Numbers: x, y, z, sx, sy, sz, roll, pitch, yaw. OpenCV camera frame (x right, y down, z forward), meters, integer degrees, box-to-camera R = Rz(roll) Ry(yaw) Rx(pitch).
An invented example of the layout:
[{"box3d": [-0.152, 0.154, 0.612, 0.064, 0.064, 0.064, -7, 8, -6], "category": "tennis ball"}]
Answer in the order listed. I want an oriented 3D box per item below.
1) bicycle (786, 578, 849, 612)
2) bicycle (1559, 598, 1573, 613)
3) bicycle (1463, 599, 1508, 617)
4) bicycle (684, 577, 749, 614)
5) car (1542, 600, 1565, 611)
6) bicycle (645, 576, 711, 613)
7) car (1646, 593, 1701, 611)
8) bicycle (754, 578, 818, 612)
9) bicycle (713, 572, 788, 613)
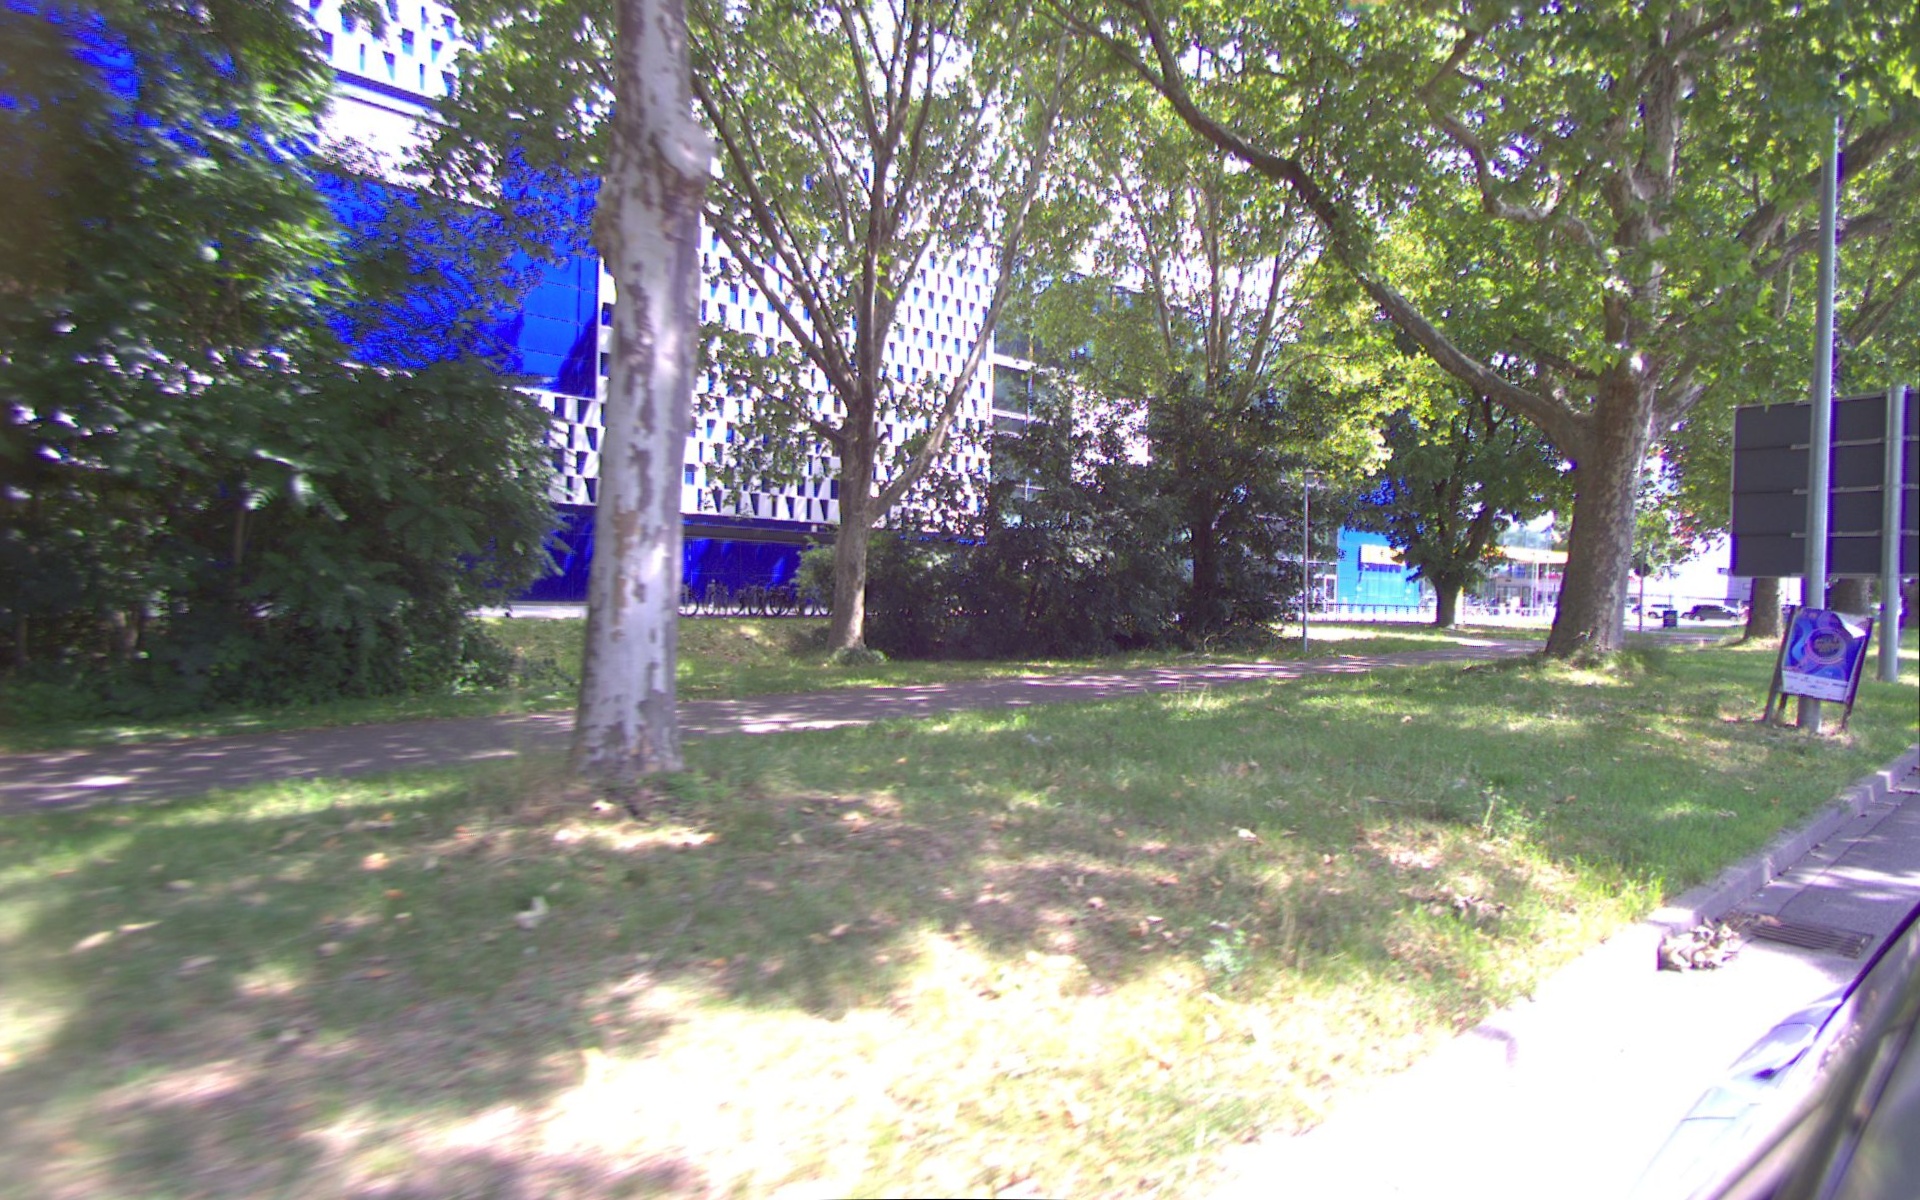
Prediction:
[{"box3d": [-4.332, -0.162, 30.670, 0.854, 0.981, 2.062, 1, 0, -43], "category": "bicycle"}, {"box3d": [52.211, 0.453, 87.144, 0.798, 1.159, 2.402, 1, 2, 36], "category": "bicycle"}, {"box3d": [29.454, 0.426, 56.747, 0.854, 0.981, 2.062, 1, 0, -43], "category": "bicycle"}, {"box3d": [-6.821, -0.135, 28.255, 0.854, 0.981, 2.062, 1, 0, -43], "category": "bicycle"}, {"box3d": [84.934, 0.747, 144.831, 3.933, 1.566, 1.850, 0, 0, -44], "category": "car"}, {"box3d": [-7.695, -0.164, 27.550, 0.854, 0.981, 2.062, 1, 0, -43], "category": "bicycle"}, {"box3d": [70.398, 0.169, 99.855, 1.965, 1.660, 4.076, 0, 1, -41], "category": "car"}, {"box3d": [-5.139, -0.152, 29.817, 0.854, 0.981, 2.062, 1, 0, -43], "category": "bicycle"}, {"box3d": [-6.036, -0.217, 29.085, 0.854, 1.131, 2.630, 1, 0, -43], "category": "bicycle"}]
